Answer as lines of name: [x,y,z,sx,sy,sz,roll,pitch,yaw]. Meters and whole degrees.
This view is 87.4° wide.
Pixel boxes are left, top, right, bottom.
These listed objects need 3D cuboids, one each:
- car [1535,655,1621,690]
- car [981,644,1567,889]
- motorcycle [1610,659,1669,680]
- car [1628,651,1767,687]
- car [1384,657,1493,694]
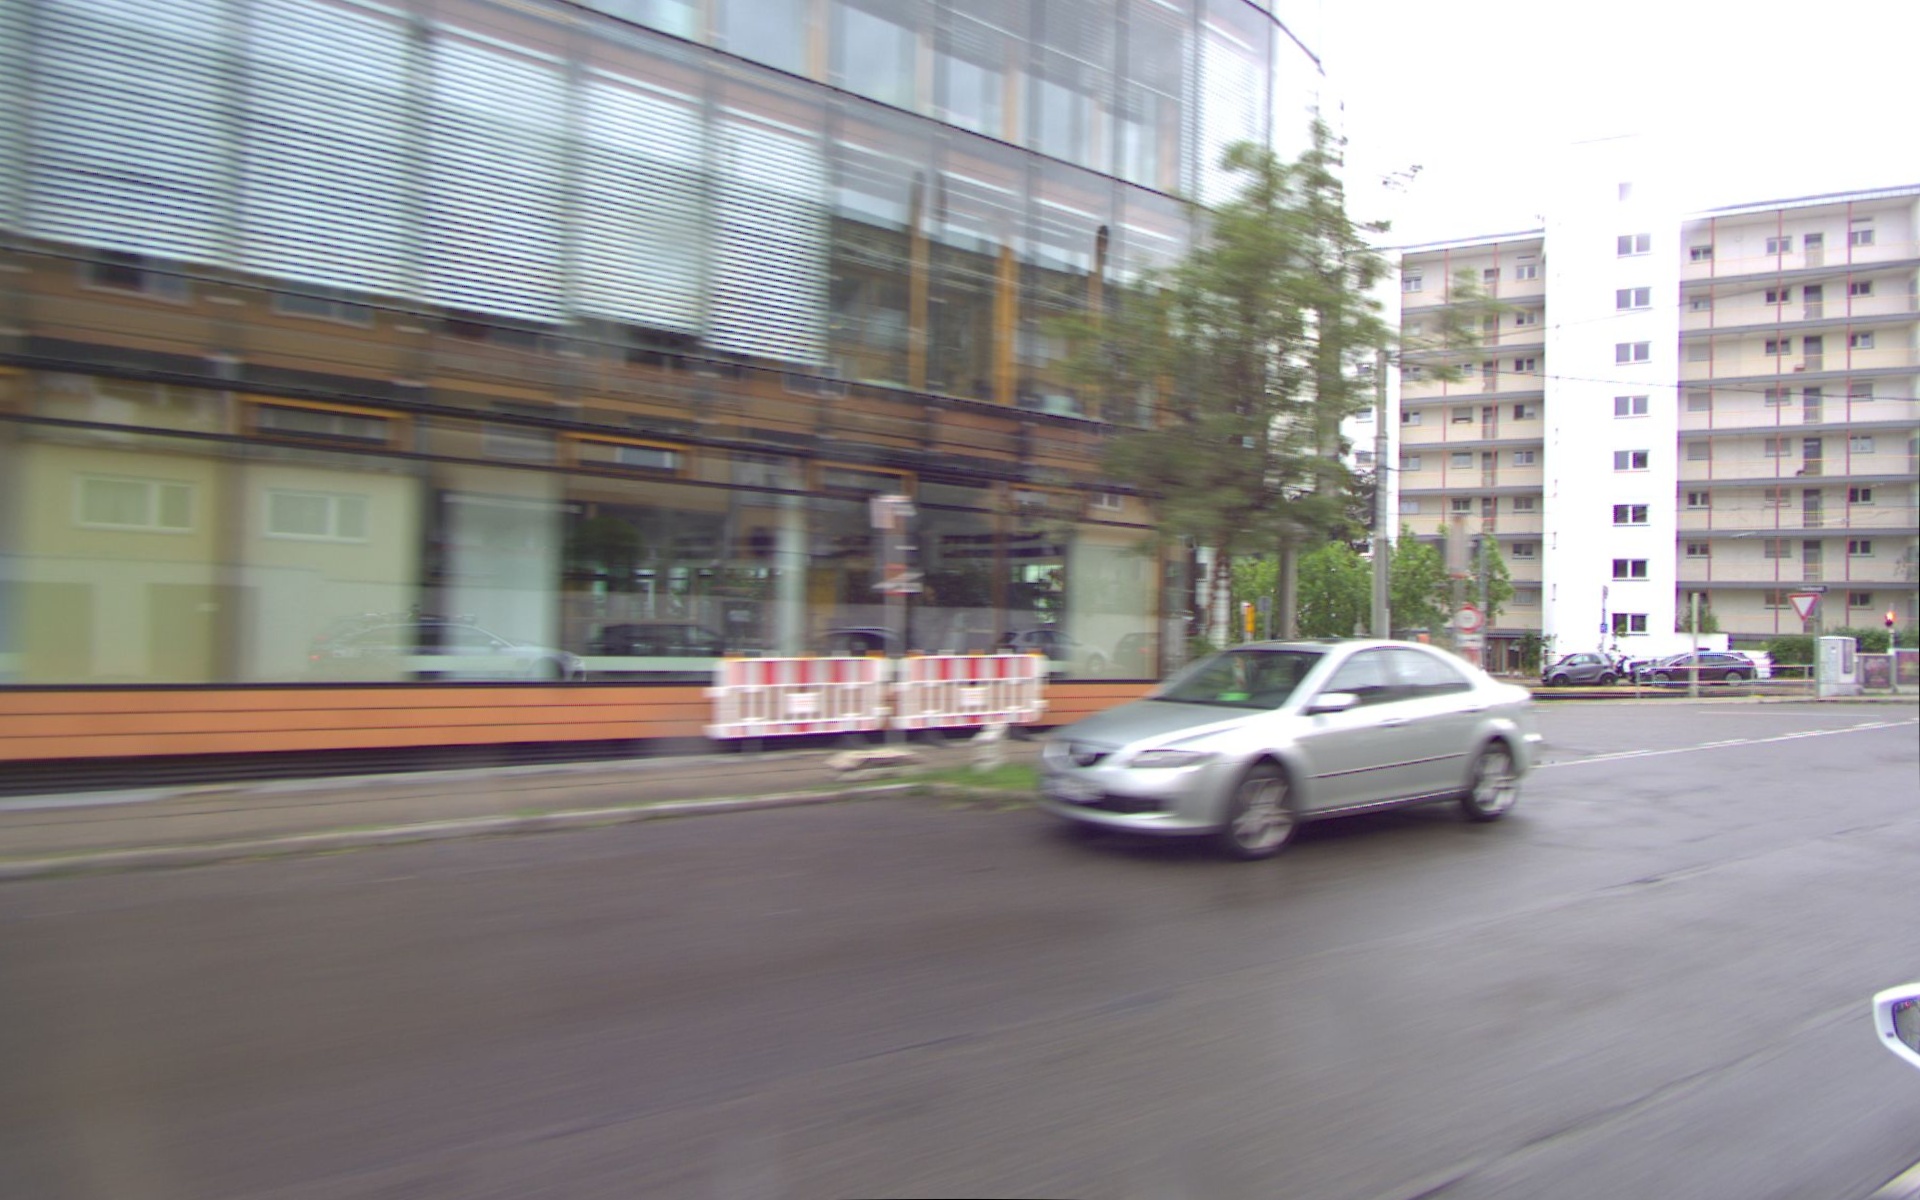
car: [27.585,3.236,44.926,2.835,1.411,1.812,-2,-2,16]
car: [2.586,1.068,7.903,4.592,1.413,1.849,2,-2,-31]
motorcycle: [32.397,3.317,47.921,2.191,0.953,0.779,-1,0,18]
car: [31.868,2.998,43.539,4.402,1.480,1.876,-2,-4,16]
car: [22.136,3.497,46.632,4.226,1.528,2.001,-2,-2,16]
